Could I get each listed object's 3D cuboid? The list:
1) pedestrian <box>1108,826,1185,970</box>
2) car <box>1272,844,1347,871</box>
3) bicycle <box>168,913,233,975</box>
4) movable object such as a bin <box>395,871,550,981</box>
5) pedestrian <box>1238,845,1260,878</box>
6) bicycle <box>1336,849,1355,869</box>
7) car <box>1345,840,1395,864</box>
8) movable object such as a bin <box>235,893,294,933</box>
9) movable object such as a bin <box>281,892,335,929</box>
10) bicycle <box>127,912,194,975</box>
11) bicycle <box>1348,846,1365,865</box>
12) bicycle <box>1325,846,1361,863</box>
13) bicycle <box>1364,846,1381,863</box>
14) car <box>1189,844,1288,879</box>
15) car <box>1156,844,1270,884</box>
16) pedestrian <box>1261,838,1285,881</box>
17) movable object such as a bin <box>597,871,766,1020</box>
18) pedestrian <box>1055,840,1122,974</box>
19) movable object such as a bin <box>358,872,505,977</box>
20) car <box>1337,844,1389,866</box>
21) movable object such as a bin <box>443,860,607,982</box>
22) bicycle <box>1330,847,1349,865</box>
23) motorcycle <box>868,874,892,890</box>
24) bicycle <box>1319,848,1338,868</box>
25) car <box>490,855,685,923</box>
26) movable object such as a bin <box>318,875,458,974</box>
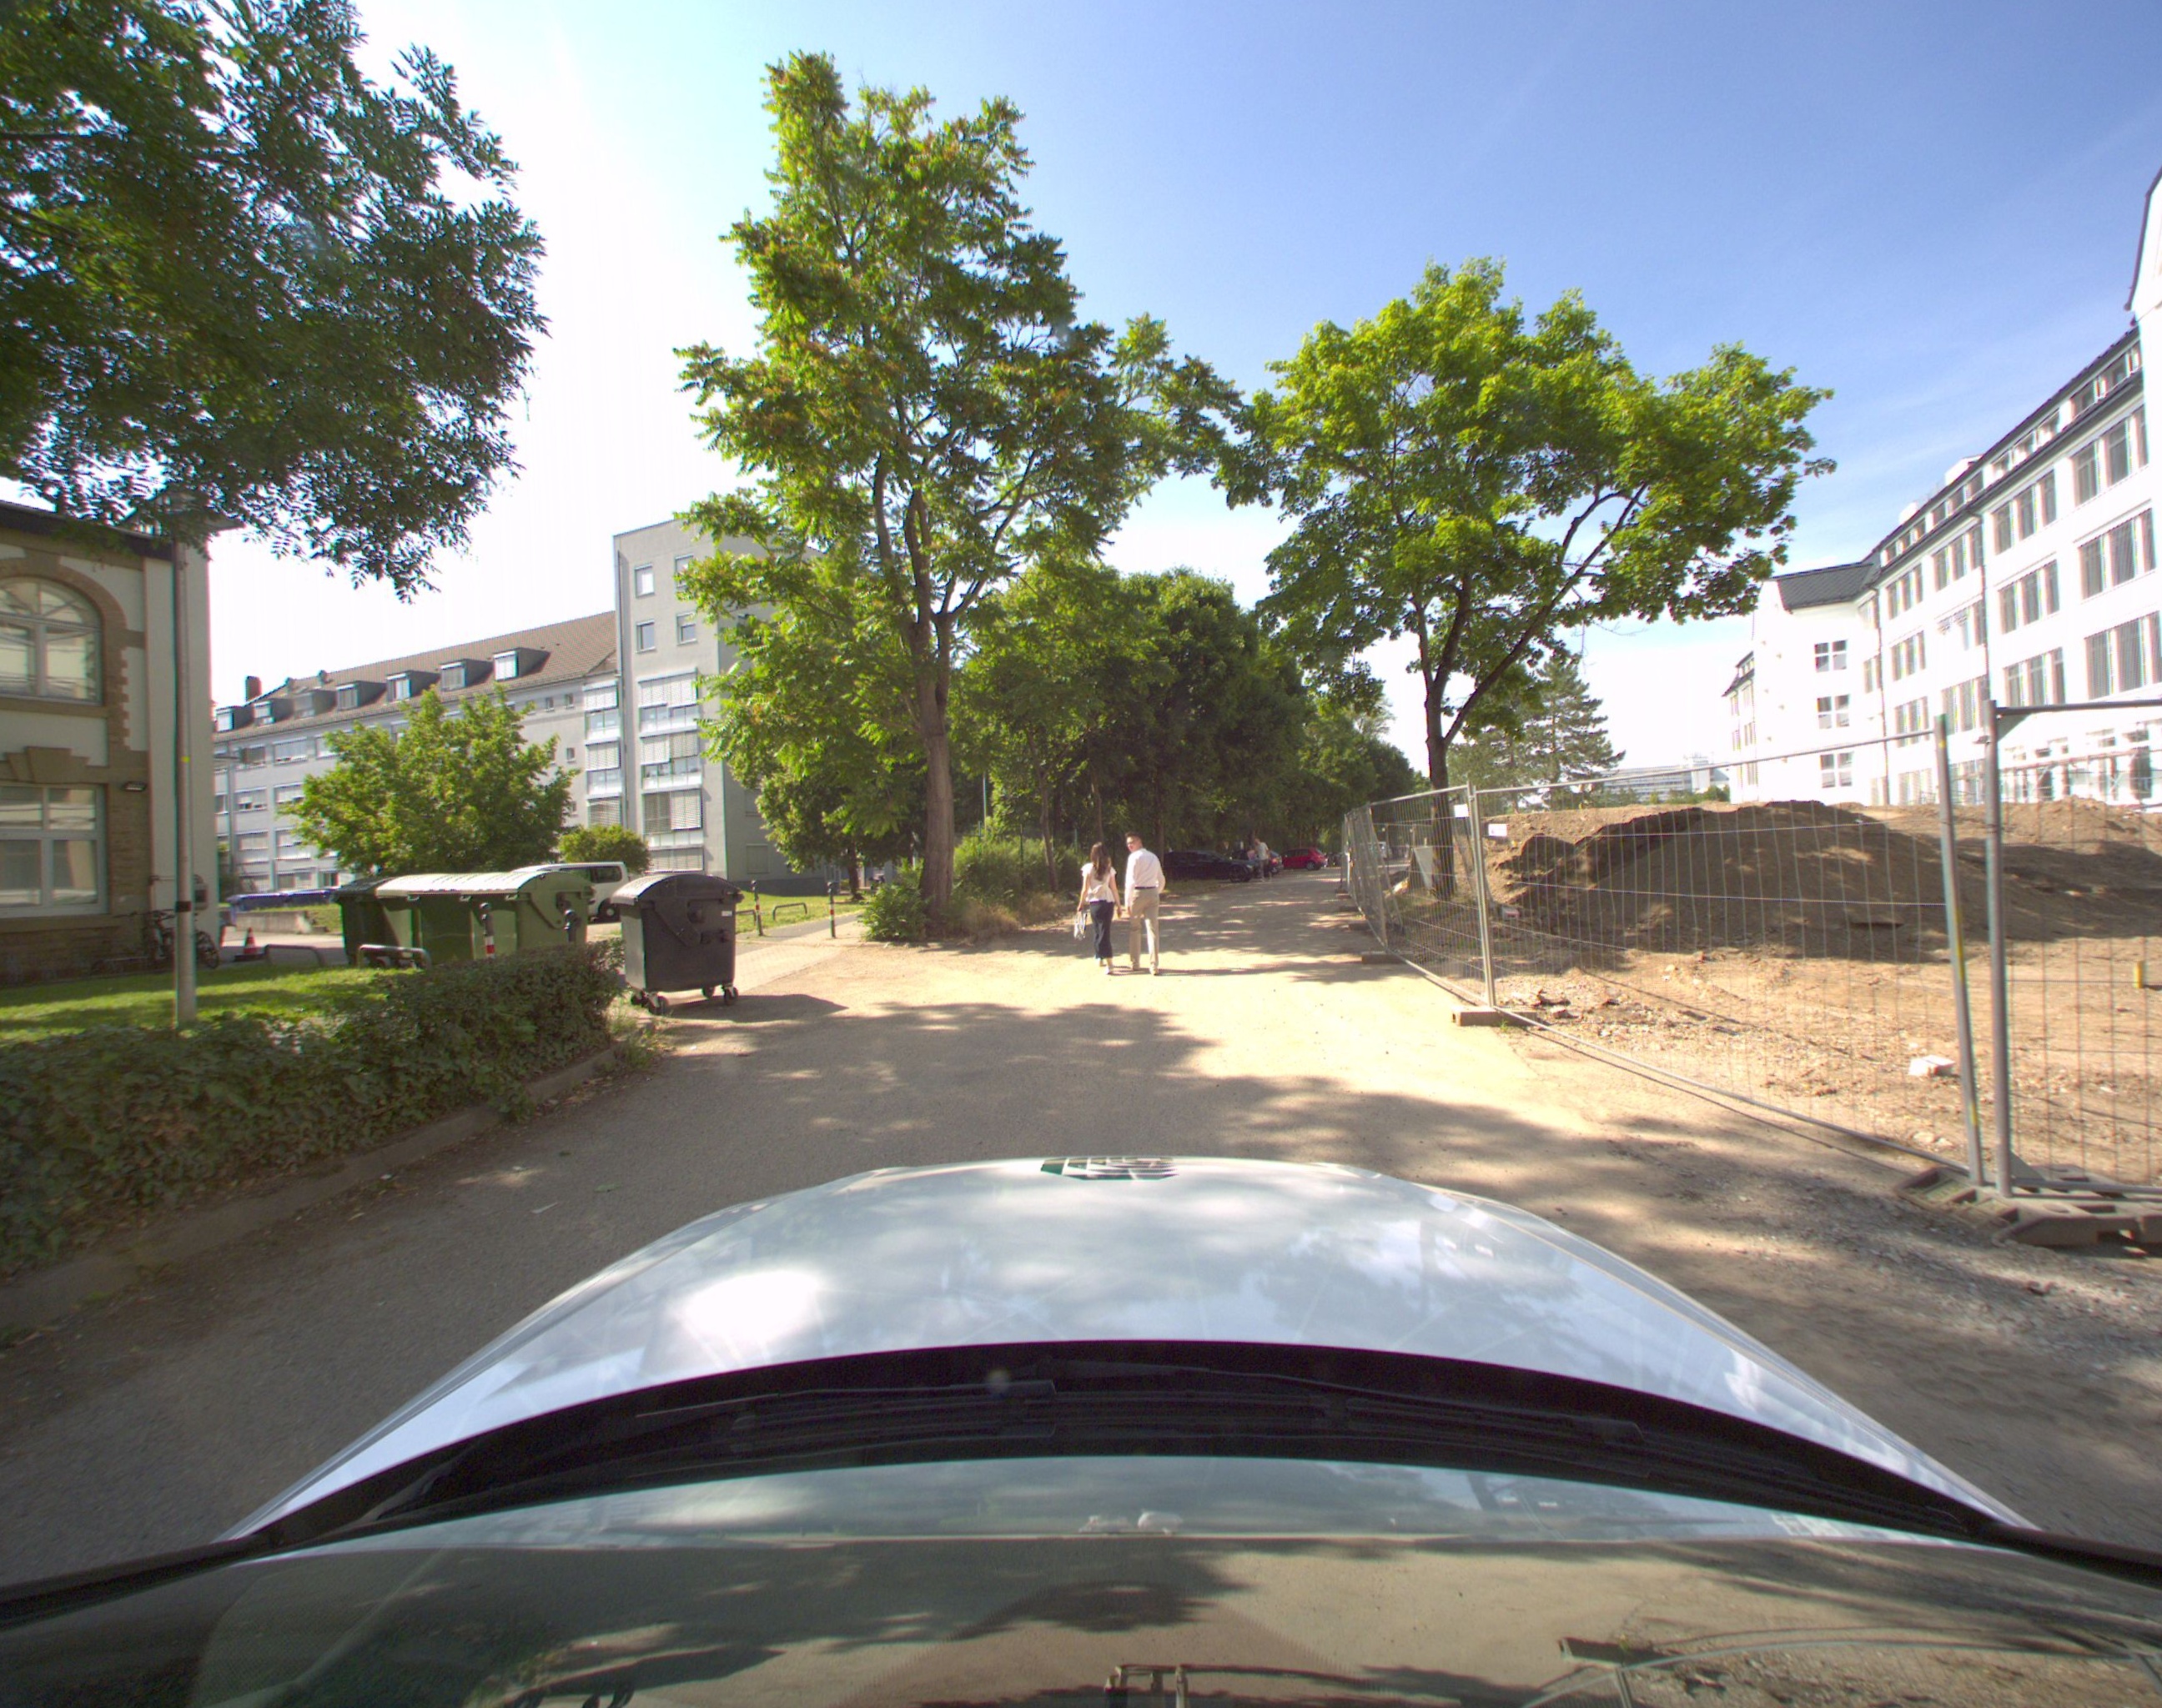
[{"bbox_3d":[0.817,0.528,10.408,0.754,1.727,0.851,-2,1,-8],"label":"pedestrian"},{"bbox_3d":[14.562,0.235,51.908,4.246,1.524,1.904,-2,0,26],"label":"car"},{"bbox_3d":[-15.587,1.572,14.410,1.521,0.992,0.449,-2,1,31],"label":"bicycle"},{"bbox_3d":[-8.624,0.994,11.595,1.210,1.431,1.254,-3,0,18],"label":"movable object such as a bin"},{"bbox_3d":[8.272,0.373,40.100,0.917,1.595,0.790,-2,1,20],"label":"pedestrian"},{"bbox_3d":[17.658,0.326,54.319,0.707,1.284,2.700,-2,0,28],"label":"bicycle"},{"bbox_3d":[26.439,-0.154,74.545,3.948,2.013,1.779,-2,0,31],"label":"car"},{"bbox_3d":[-30.941,2.226,30.861,1.127,1.319,1.259,-5,1,30],"label":"movable object such as a bin"},{"bbox_3d":[-30.404,2.215,32.049,1.127,1.340,1.259,-3,0,31],"label":"movable object such as a bin"},{"bbox_3d":[-15.779,1.510,13.954,1.609,0.992,0.449,-2,1,31],"label":"bicycle"},{"bbox_3d":[19.752,0.108,58.346,0.707,1.284,2.653,-2,0,28],"label":"bicycle"},{"bbox_3d":[21.128,0.056,65.603,2.652,1.284,0.823,-2,0,22],"label":"bicycle"},{"bbox_3d":[23.475,0.036,65.496,0.808,1.284,2.763,-2,0,28],"label":"bicycle"},{"bbox_3d":[8.082,0.402,41.726,4.617,1.584,2.010,-2,1,19],"label":"car"},{"bbox_3d":[5.880,0.430,36.198,4.617,1.584,2.010,-2,1,19],"label":"car"},{"bbox_3d":[8.224,0.235,34.844,0.810,1.781,1.022,-2,0,19],"label":"pedestrian"},{"bbox_3d":[-4.363,0.924,8.882,1.255,1.396,1.387,-2,-1,-43],"label":"movable object such as a bin"},{"bbox_3d":[0.087,0.653,10.555,0.734,1.640,0.779,-2,1,-6],"label":"pedestrian"},{"bbox_3d":[-9.797,1.036,12.304,1.348,1.431,1.256,-3,0,28],"label":"movable object such as a bin"},{"bbox_3d":[24.917,0.125,71.940,3.948,1.772,1.779,-2,0,31],"label":"car"},{"bbox_3d":[-7.418,0.863,10.913,1.323,1.481,1.255,-3,0,23],"label":"movable object such as a bin"},{"bbox_3d":[19.081,0.118,60.151,0.808,1.284,2.700,-2,0,28],"label":"bicycle"},{"bbox_3d":[-16.380,2.281,66.423,0.622,1.246,2.075,-3,0,30],"label":"motorcycle"},{"bbox_3d":[16.987,0.267,55.840,0.707,1.284,2.808,-2,0,28],"label":"bicycle"},{"bbox_3d":[-15.900,1.068,26.562,1.974,1.933,5.072,-3,-1,30],"label":"car"},{"bbox_3d":[-11.088,1.090,13.051,1.333,1.431,1.256,-3,0,28],"label":"movable object such as a bin"}]
